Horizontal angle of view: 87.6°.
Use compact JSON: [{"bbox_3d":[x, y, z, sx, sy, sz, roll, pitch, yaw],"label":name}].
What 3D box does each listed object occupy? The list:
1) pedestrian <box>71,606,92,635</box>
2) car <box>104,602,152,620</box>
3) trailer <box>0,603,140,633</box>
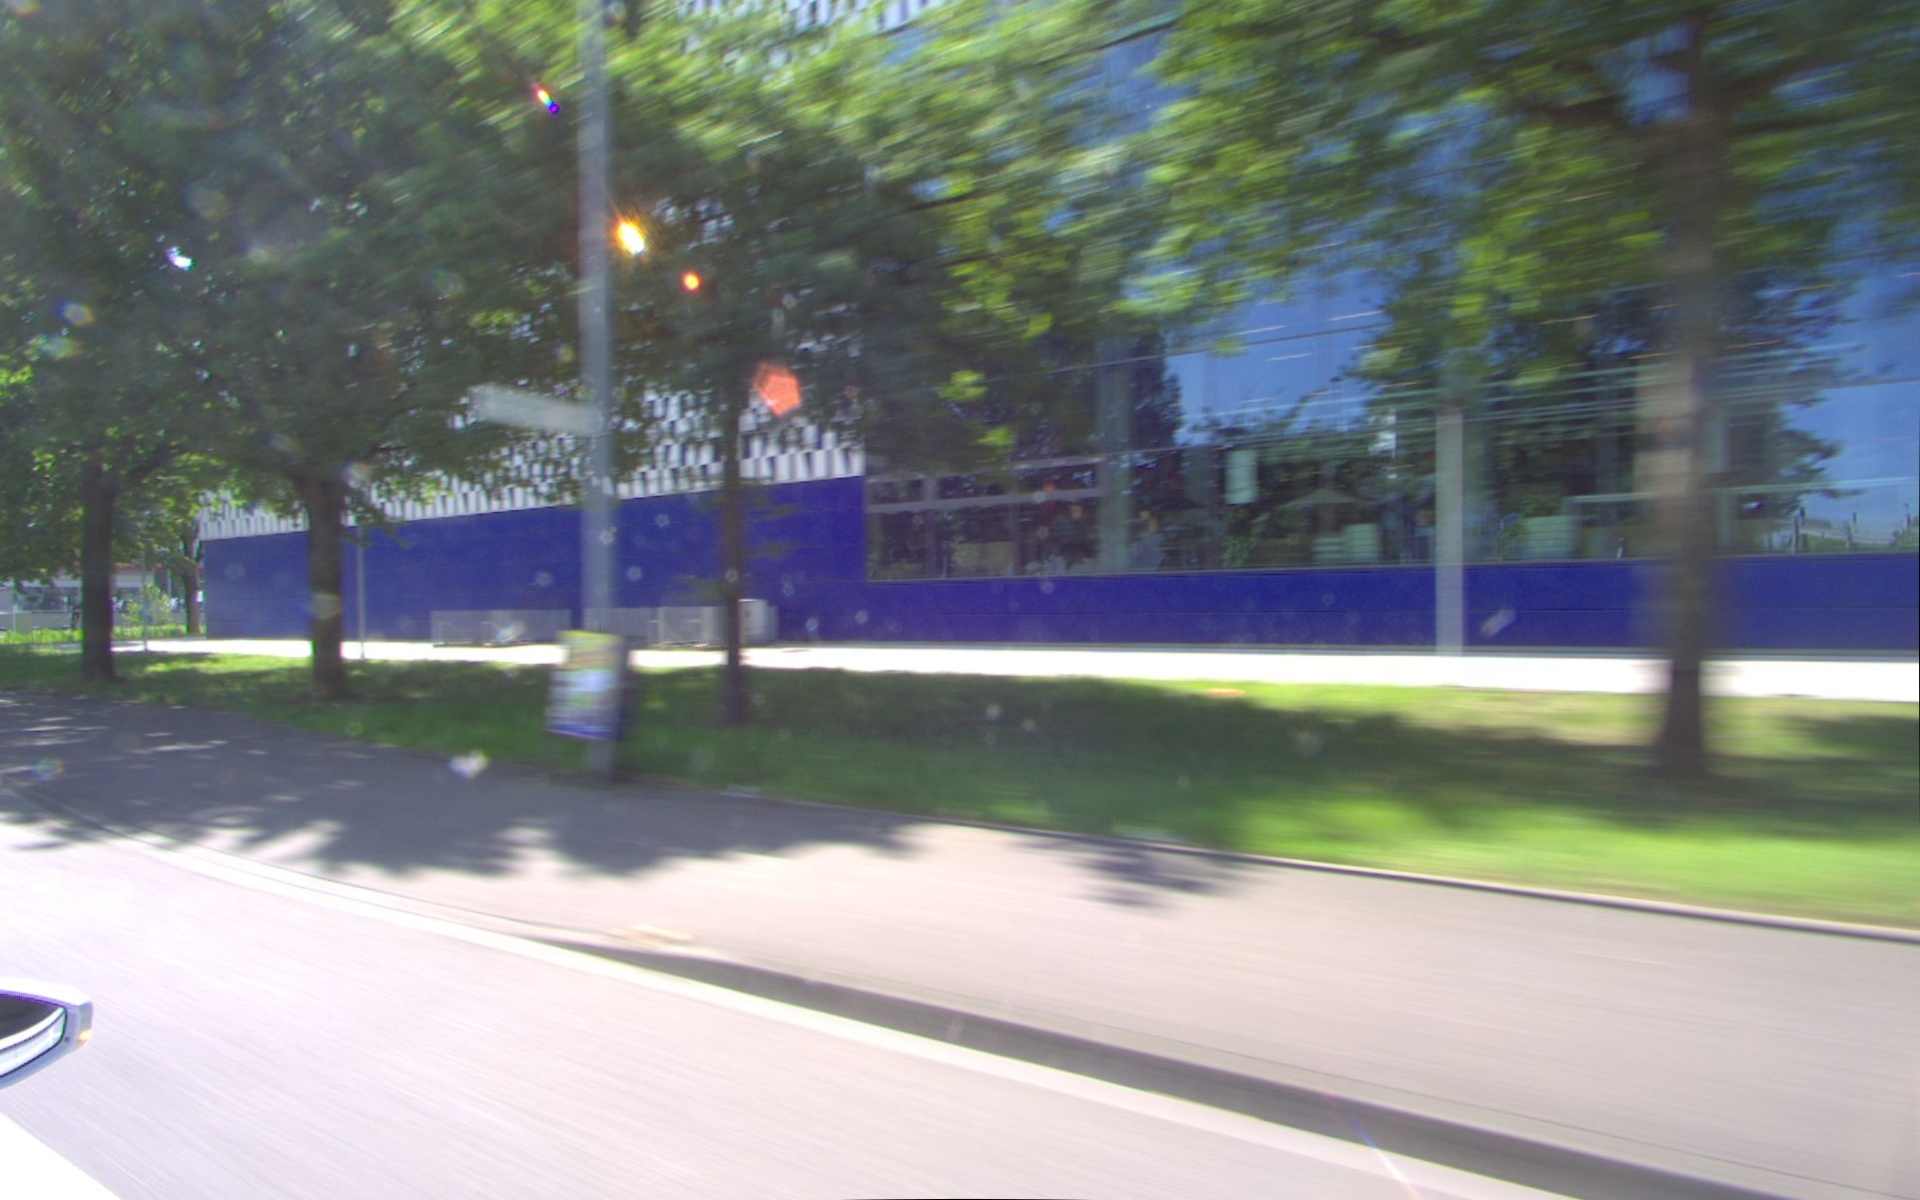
[{"bbox_3d":[-54.539,1.282,62.174,0.791,1.793,0.627,-1,1,21],"label":"pedestrian"},{"bbox_3d":[-100.043,1.319,120.445,1.970,2.039,3.984,1,-2,29],"label":"car"},{"bbox_3d":[-81.830,1.641,90.477,1.973,2.501,11.845,1,-2,34],"label":"trailer"}]
